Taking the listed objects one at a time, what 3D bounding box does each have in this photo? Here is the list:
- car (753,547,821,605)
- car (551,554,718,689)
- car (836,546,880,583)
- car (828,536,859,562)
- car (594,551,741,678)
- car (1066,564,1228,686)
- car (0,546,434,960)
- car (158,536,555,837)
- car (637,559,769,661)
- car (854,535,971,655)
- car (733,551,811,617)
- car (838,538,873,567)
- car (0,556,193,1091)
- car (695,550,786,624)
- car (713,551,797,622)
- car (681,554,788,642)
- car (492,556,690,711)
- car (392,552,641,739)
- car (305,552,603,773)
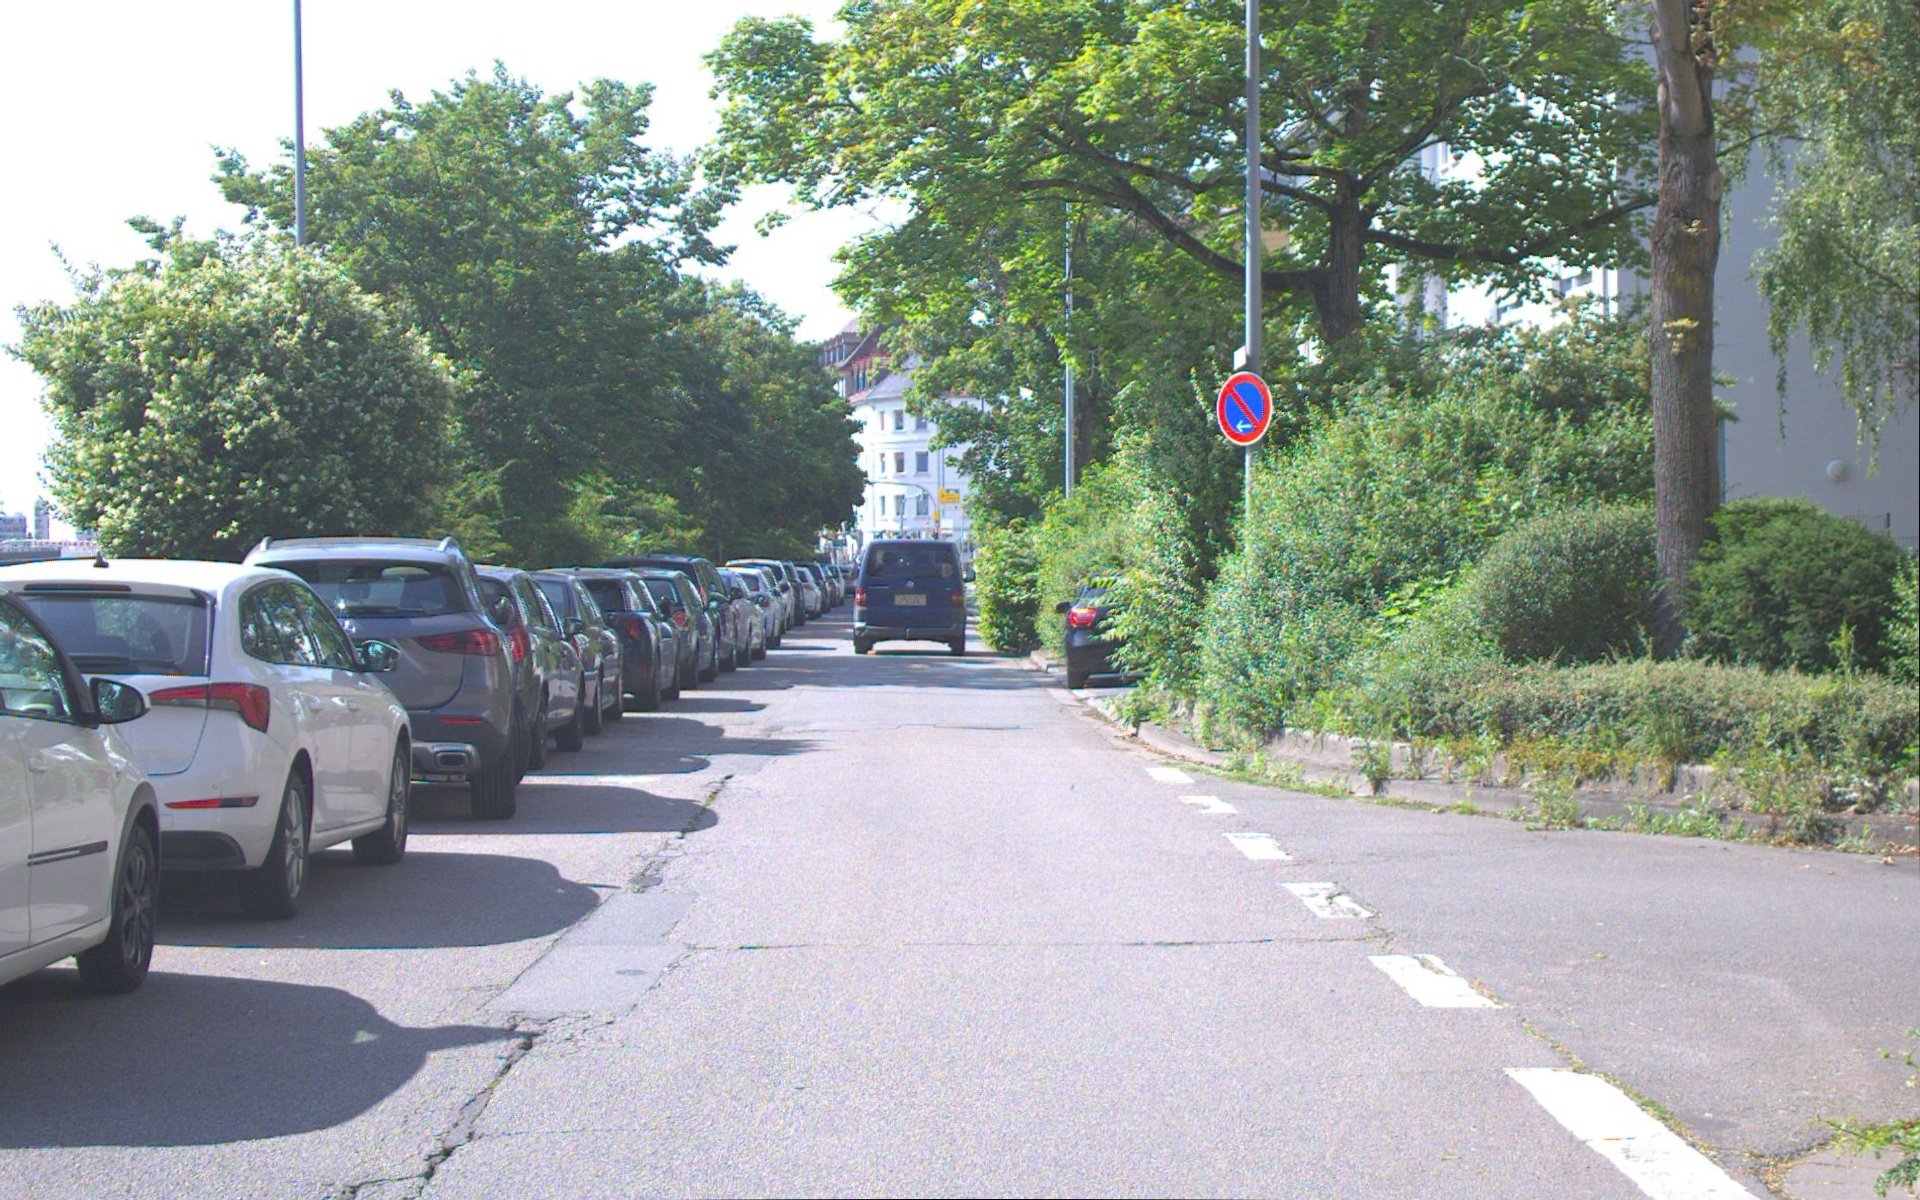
[{"bbox_3d":[-4.763,-0.679,95.132,1.664,1.504,4.008,2,1,0],"label":"car"},{"bbox_3d":[-3.955,0.231,42.241,1.664,1.506,3.789,2,1,0],"label":"car"},{"bbox_3d":[-4.701,-1.634,158.302,1.993,1.651,4.000,0,1,-1],"label":"car"},{"bbox_3d":[-7.497,-3.312,221.357,1.993,1.651,3.741,0,1,-1],"label":"car"},{"bbox_3d":[-3.945,0.164,46.900,1.664,1.578,3.932,-1,2,0],"label":"car"},{"bbox_3d":[2.310,0.279,43.364,1.726,1.415,4.000,-2,1,-1],"label":"car"},{"bbox_3d":[-3.502,0.551,15.124,1.721,1.500,4.132,2,1,0],"label":"car"},{"bbox_3d":[-3.493,0.426,20.608,1.771,1.574,4.187,-1,1,-2],"label":"car"},{"bbox_3d":[-3.850,0.118,52.087,1.664,1.402,4.320,2,1,0],"label":"car"},{"bbox_3d":[-0.793,-0.124,58.769,1.883,1.915,4.008,2,1,0],"label":"car"},{"bbox_3d":[-4.585,-0.406,84.175,1.664,1.504,4.008,2,1,0],"label":"car"},{"bbox_3d":[-6.090,-2.790,201.142,1.993,1.651,4.000,0,1,-1],"label":"car"},{"bbox_3d":[-3.551,0.630,10.571,1.619,1.500,3.462,0,1,0],"label":"car"},{"bbox_3d":[-4.649,-0.305,73.165,1.664,1.504,4.201,-1,1,0],"label":"car"},{"bbox_3d":[-4.664,-0.338,78.626,1.664,1.504,4.008,2,1,0],"label":"car"},{"bbox_3d":[-4.079,-0.062,62.727,1.664,1.463,4.201,2,1,0],"label":"car"},{"bbox_3d":[-3.841,0.311,36.303,1.664,1.468,3.789,2,1,0],"label":"car"},{"bbox_3d":[-3.965,0.354,31.406,1.664,1.506,4.594,2,1,0],"label":"car"},{"bbox_3d":[-3.744,0.413,26.017,1.664,1.469,3.876,2,1,0],"label":"car"}]
